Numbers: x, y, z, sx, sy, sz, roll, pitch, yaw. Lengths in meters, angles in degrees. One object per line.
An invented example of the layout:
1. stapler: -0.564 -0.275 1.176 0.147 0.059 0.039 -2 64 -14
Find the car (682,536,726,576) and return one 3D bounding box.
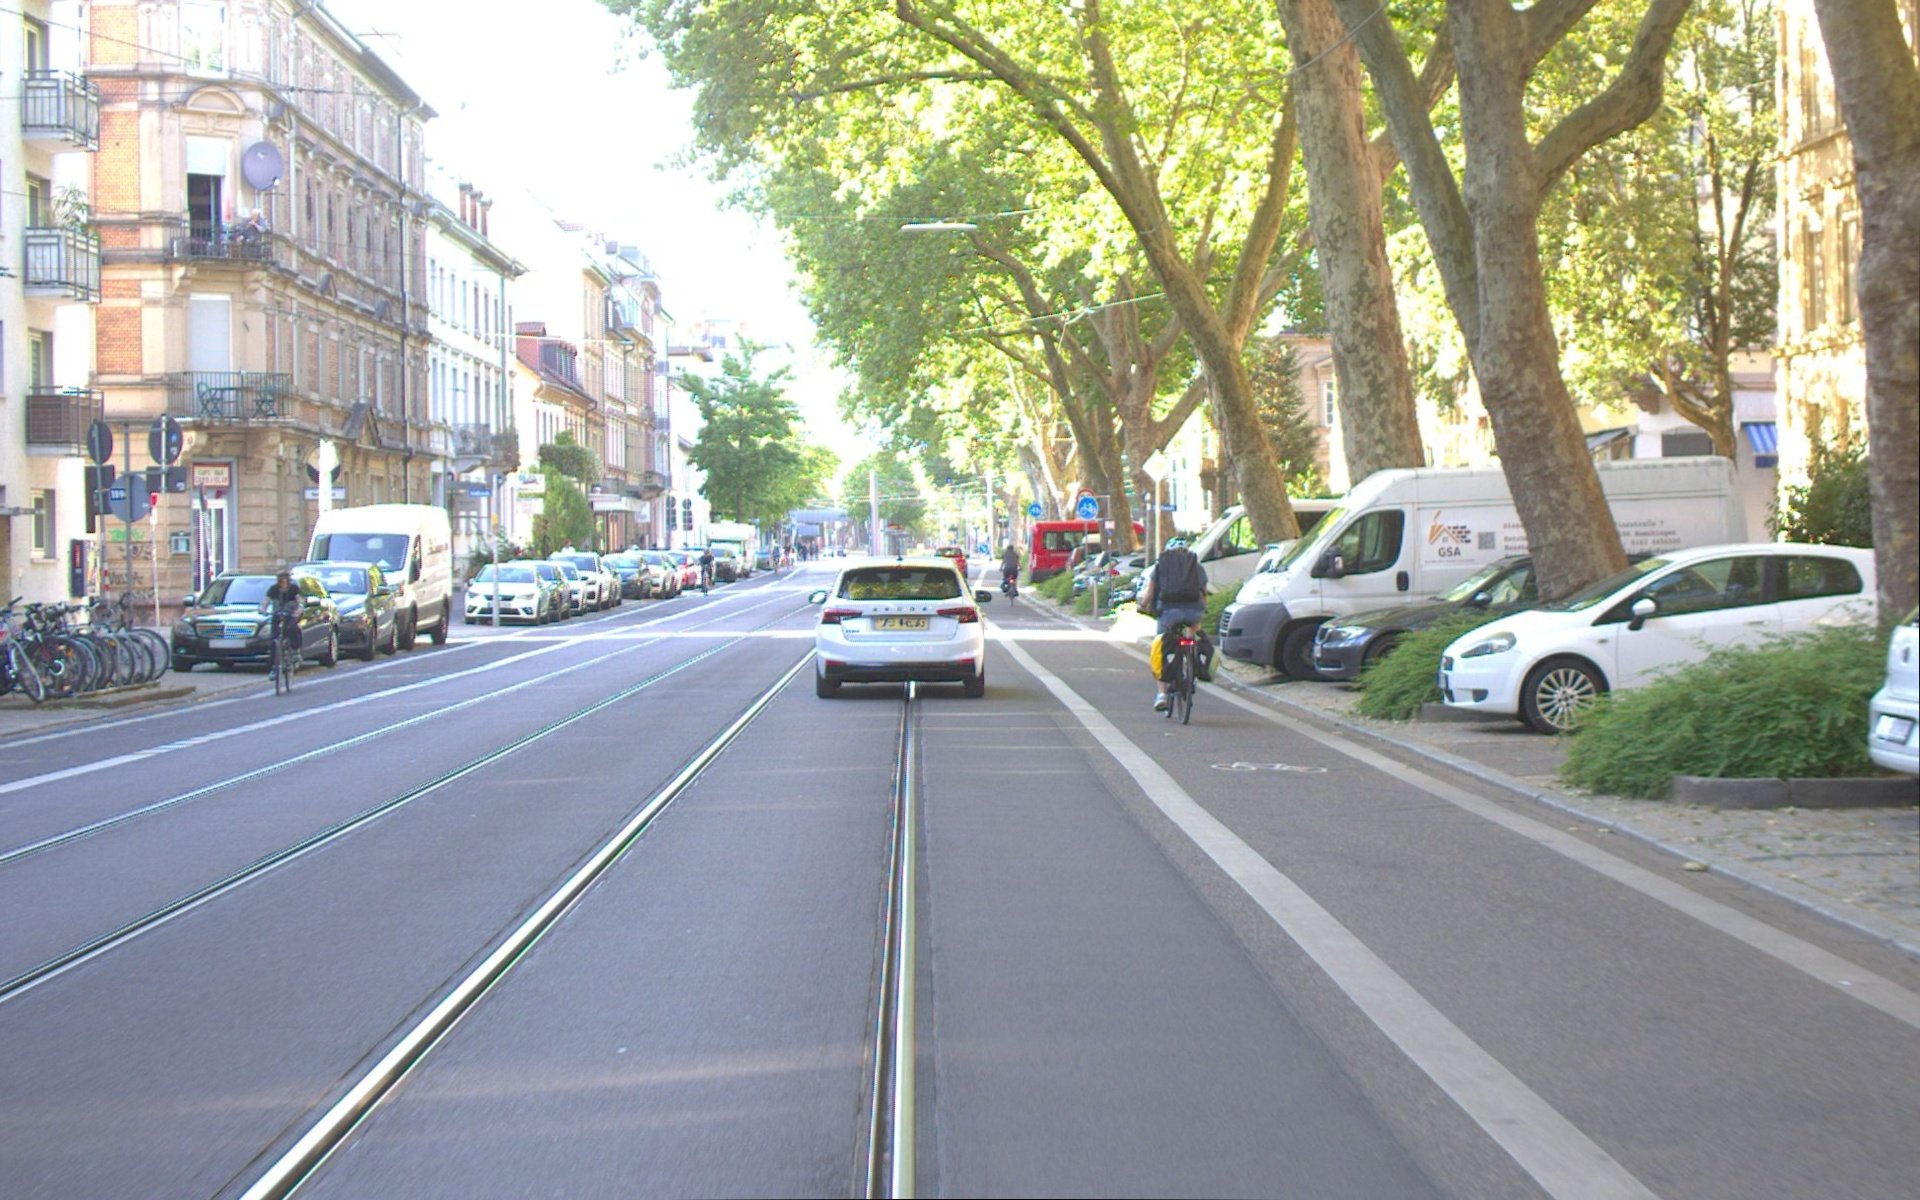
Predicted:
1. car: -13.187 -2.256 177.419 1.993 2.007 4.000 0 0 -1

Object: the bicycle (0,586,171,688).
1. bicycle: -10.690 0.432 40.708 2.524 1.168 0.719 1 -1 -5

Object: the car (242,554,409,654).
1. car: -10.246 0.038 55.764 1.993 1.525 4.000 -1 1 -1

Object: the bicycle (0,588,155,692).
1. bicycle: -10.652 0.451 39.720 2.524 1.168 0.719 1 -1 -5

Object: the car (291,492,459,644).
1. car: -10.437 -0.591 61.698 2.178 2.588 4.949 -1 1 -1

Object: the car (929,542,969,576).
1. car: -0.507 -1.875 155.480 1.761 1.470 4.000 -1 1 0

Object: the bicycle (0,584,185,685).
1. bicycle: -10.706 0.417 41.557 2.524 1.168 0.719 1 -1 -5

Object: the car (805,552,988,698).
1. car: -0.640 0.215 35.774 1.761 1.379 4.000 -1 1 0

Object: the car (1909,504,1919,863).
1. car: 6.484 0.373 15.345 3.986 1.674 1.724 -1 1 -2

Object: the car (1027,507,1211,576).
1. car: 5.467 -2.037 119.043 6.130 2.274 2.529 -1 1 -2

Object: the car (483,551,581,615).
1. car: -10.710 -0.436 86.260 1.993 1.525 4.000 -1 1 -1

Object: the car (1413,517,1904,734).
1. car: 5.613 0.184 27.952 3.634 1.661 1.822 -1 1 2

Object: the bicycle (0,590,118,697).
1. bicycle: -10.674 0.477 37.951 2.525 1.168 0.883 2 -1 -40

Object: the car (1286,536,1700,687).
1. car: 5.751 0.105 37.374 4.048 1.535 2.000 -1 1 -6

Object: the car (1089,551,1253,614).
1. car: 5.395 -0.451 88.333 4.049 1.535 2.000 -1 1 -1

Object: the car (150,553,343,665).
1. car: -10.322 0.096 49.982 1.993 1.525 4.000 -1 1 -1

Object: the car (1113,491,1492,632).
1. car: 5.805 -0.672 58.820 6.130 2.274 2.529 -1 1 -2

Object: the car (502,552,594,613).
1. car: -10.894 -0.481 91.185 1.993 1.525 4.000 -1 1 -1

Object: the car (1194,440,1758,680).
1. car: 5.943 -0.481 40.200 6.130 2.626 2.529 -1 1 -2

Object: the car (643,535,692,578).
1. car: -13.880 -2.081 163.116 1.993 2.007 4.000 -1 1 -1

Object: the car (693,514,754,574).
1. car: -12.668 -2.986 184.569 2.968 3.145 5.847 0 0 -1

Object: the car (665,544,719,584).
1. car: -11.194 -1.499 143.855 1.993 1.634 4.000 0 0 -1

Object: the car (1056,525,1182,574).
1. car: 5.264 -1.685 114.346 4.049 1.535 2.000 -1 1 -1

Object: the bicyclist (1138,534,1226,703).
1. bicyclist: 1.934 0.151 30.071 0.678 1.438 1.047 -1 1 0

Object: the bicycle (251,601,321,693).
1. bicycle: -8.225 0.561 42.008 0.605 1.067 1.583 -1 1 -3

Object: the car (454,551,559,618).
1. car: -10.790 -0.399 82.032 1.993 1.525 4.000 -1 1 -1

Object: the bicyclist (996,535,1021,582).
1. bicyclist: 1.381 -1.195 98.330 0.649 1.339 0.934 -1 1 -3

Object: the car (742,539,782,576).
1. car: -11.028 -2.382 191.693 1.993 2.007 4.000 -1 1 -1

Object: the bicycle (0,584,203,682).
1. bicycle: -10.715 0.407 42.611 2.524 1.168 0.719 1 -1 -6

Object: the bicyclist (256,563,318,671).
1. bicyclist: -8.233 0.198 42.059 0.597 1.281 0.917 -1 1 -3

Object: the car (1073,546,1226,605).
1. car: 5.209 -0.685 94.843 4.049 1.535 2.000 -1 1 -1

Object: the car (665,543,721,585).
1. car: -10.738 -1.449 138.506 1.993 1.634 4.000 0 0 -1

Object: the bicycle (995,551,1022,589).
1. bicycle: 1.392 -0.871 98.360 0.649 1.067 1.583 -1 1 -3

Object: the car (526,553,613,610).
1. car: -10.878 -0.525 95.995 1.993 1.525 4.000 -1 1 -1

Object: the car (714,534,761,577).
1. car: -10.709 -2.149 165.608 1.993 2.007 4.000 -1 1 -1

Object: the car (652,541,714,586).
1. car: -10.230 -1.344 127.068 1.993 1.634 4.000 0 0 -1

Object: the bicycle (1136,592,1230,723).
1. bicycle: 1.940 0.488 30.115 0.681 1.067 1.781 -1 1 0

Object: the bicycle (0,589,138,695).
1. bicycle: -10.624 0.466 38.834 2.524 1.168 0.719 1 -1 -7

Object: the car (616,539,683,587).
1. car: -10.632 -1.265 118.028 1.993 1.634 4.000 0 0 -1
